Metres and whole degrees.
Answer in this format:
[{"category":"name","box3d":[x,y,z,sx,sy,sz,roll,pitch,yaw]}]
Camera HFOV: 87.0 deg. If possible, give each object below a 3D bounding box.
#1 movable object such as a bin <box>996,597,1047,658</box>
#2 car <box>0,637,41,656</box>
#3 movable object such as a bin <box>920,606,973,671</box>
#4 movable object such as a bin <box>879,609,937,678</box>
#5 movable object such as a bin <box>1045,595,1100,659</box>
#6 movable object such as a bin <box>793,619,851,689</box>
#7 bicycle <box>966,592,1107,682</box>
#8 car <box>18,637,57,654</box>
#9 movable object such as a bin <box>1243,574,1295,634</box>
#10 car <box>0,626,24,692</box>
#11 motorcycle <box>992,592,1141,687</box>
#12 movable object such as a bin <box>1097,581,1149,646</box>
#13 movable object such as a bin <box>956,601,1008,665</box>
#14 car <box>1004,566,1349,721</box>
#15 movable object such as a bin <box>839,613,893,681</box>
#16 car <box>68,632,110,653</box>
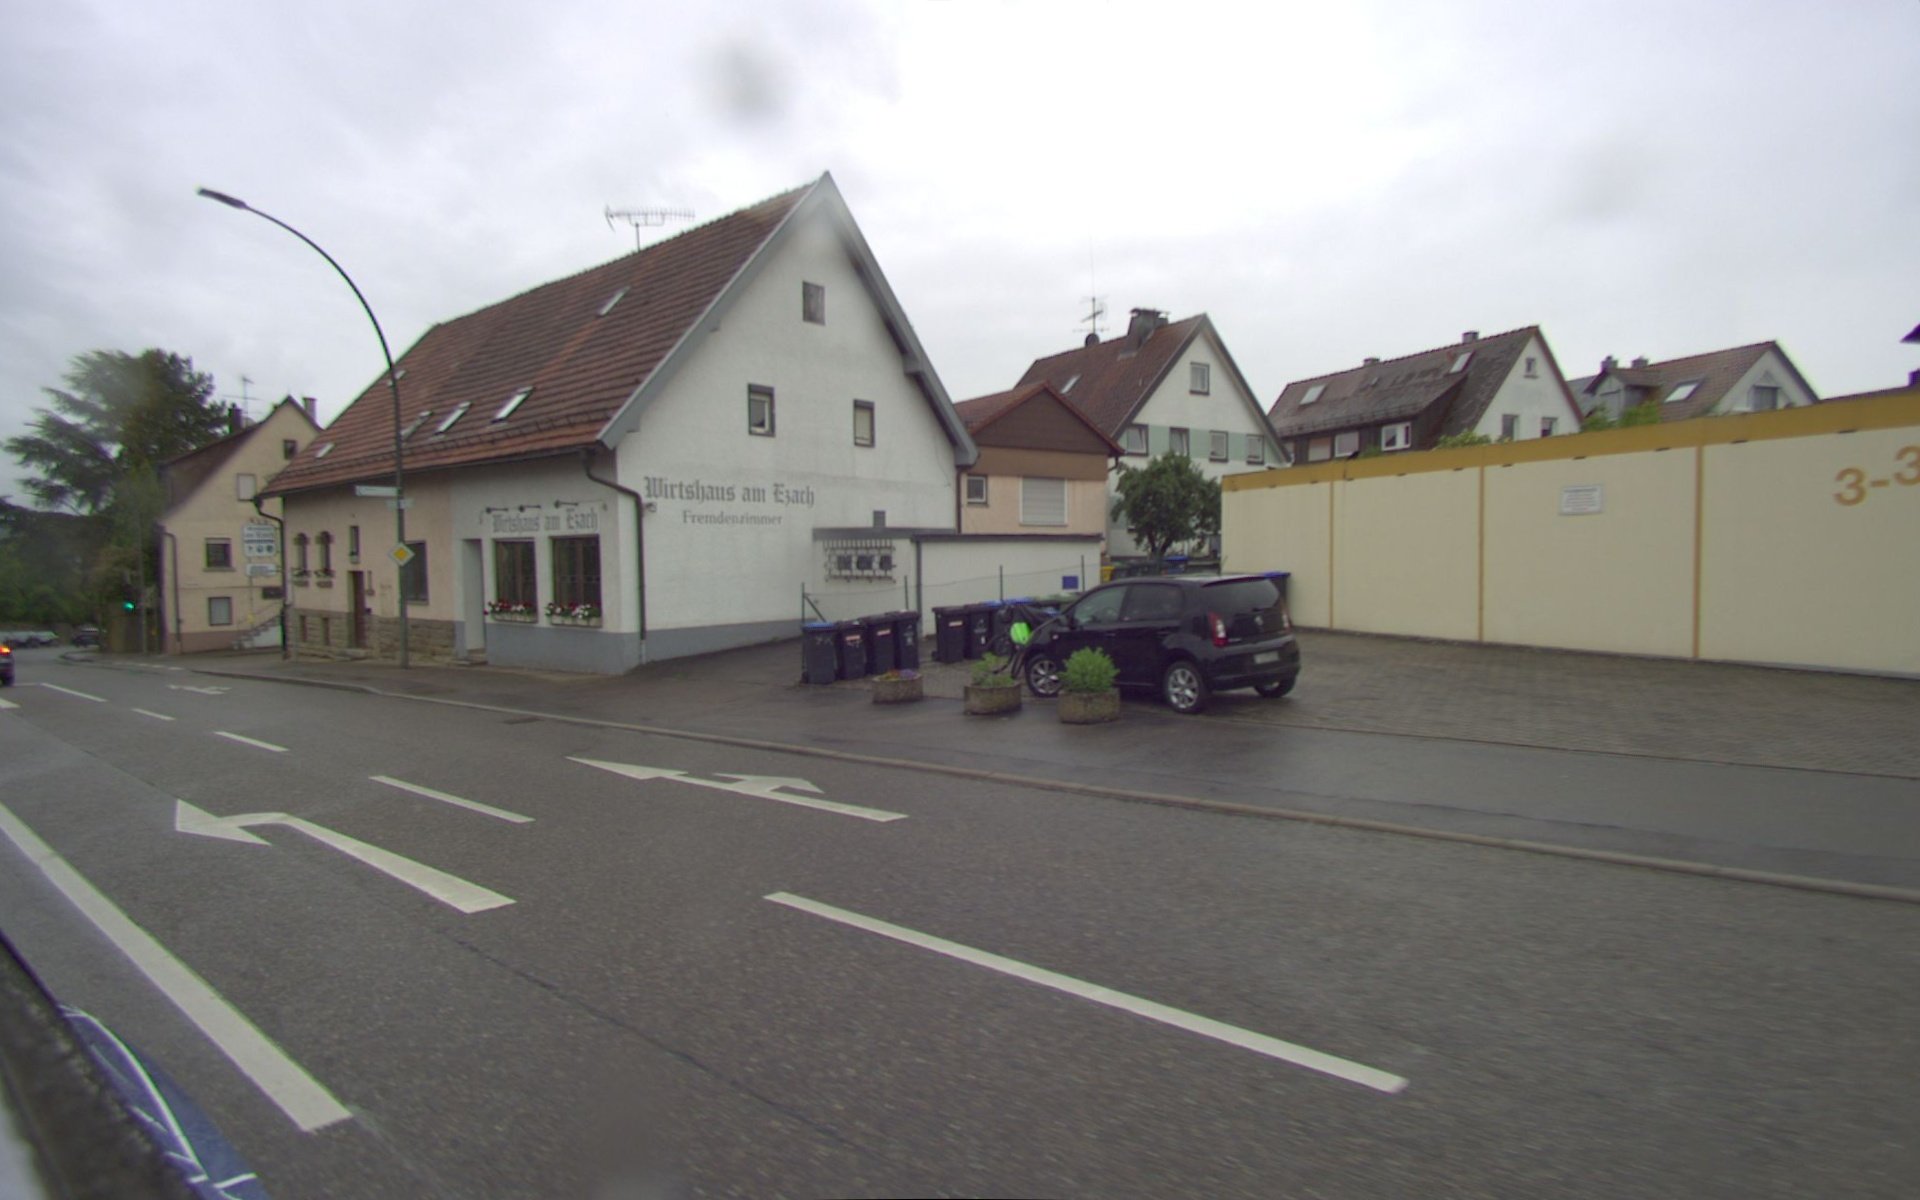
[{"category":"movable object such as a bin","box3d":[1.073,0.475,17.608,0.629,1.040,0.606,0,-1,-35]},{"category":"car","box3d":[-78.478,3.862,84.448,1.735,1.430,4.166,0,-2,-29]},{"category":"movable object such as a bin","box3d":[-0.229,0.620,16.722,0.629,1.040,0.606,0,-1,-35]},{"category":"movable object such as a bin","box3d":[-0.842,0.687,16.265,0.629,1.040,0.606,-5,2,-35]},{"category":"movable object such as a bin","box3d":[1.993,0.475,17.913,0.630,1.039,0.606,-7,3,-35]},{"category":"movable object such as a bin","box3d":[-2.126,0.820,15.571,0.629,1.040,0.675,0,-1,-35]},{"category":"bicycle","box3d":[1.178,0.532,15.401,2.069,1.122,0.739,-6,4,-33]},{"category":"car","box3d":[-81.146,4.013,89.088,1.735,1.430,4.166,0,-2,-30]},{"category":"movable object such as a bin","box3d":[5.731,0.070,18.763,0.660,1.087,0.626,0,-1,-26]},{"category":"car","box3d":[-25.195,1.504,25.388,4.221,1.586,1.925,-2,-1,39]},{"category":"motorcycle","box3d":[1.580,0.540,14.785,2.082,1.122,0.782,-6,4,-33]},{"category":"movable object such as a bin","box3d":[3.020,0.244,18.726,0.630,1.138,0.606,-6,2,-35]},{"category":"movable object such as a bin","box3d":[0.377,0.549,17.129,0.629,1.040,0.606,0,-1,-35]},{"category":"car","box3d":[2.399,0.448,12.132,1.875,1.453,3.839,-4,1,-31]},{"category":"movable object such as a bin","box3d":[-1.482,0.731,15.937,0.629,1.040,0.606,0,-1,-35]},{"category":"car","box3d":[-75.064,3.649,87.288,1.966,1.719,4.012,-1,-1,-30]}]
